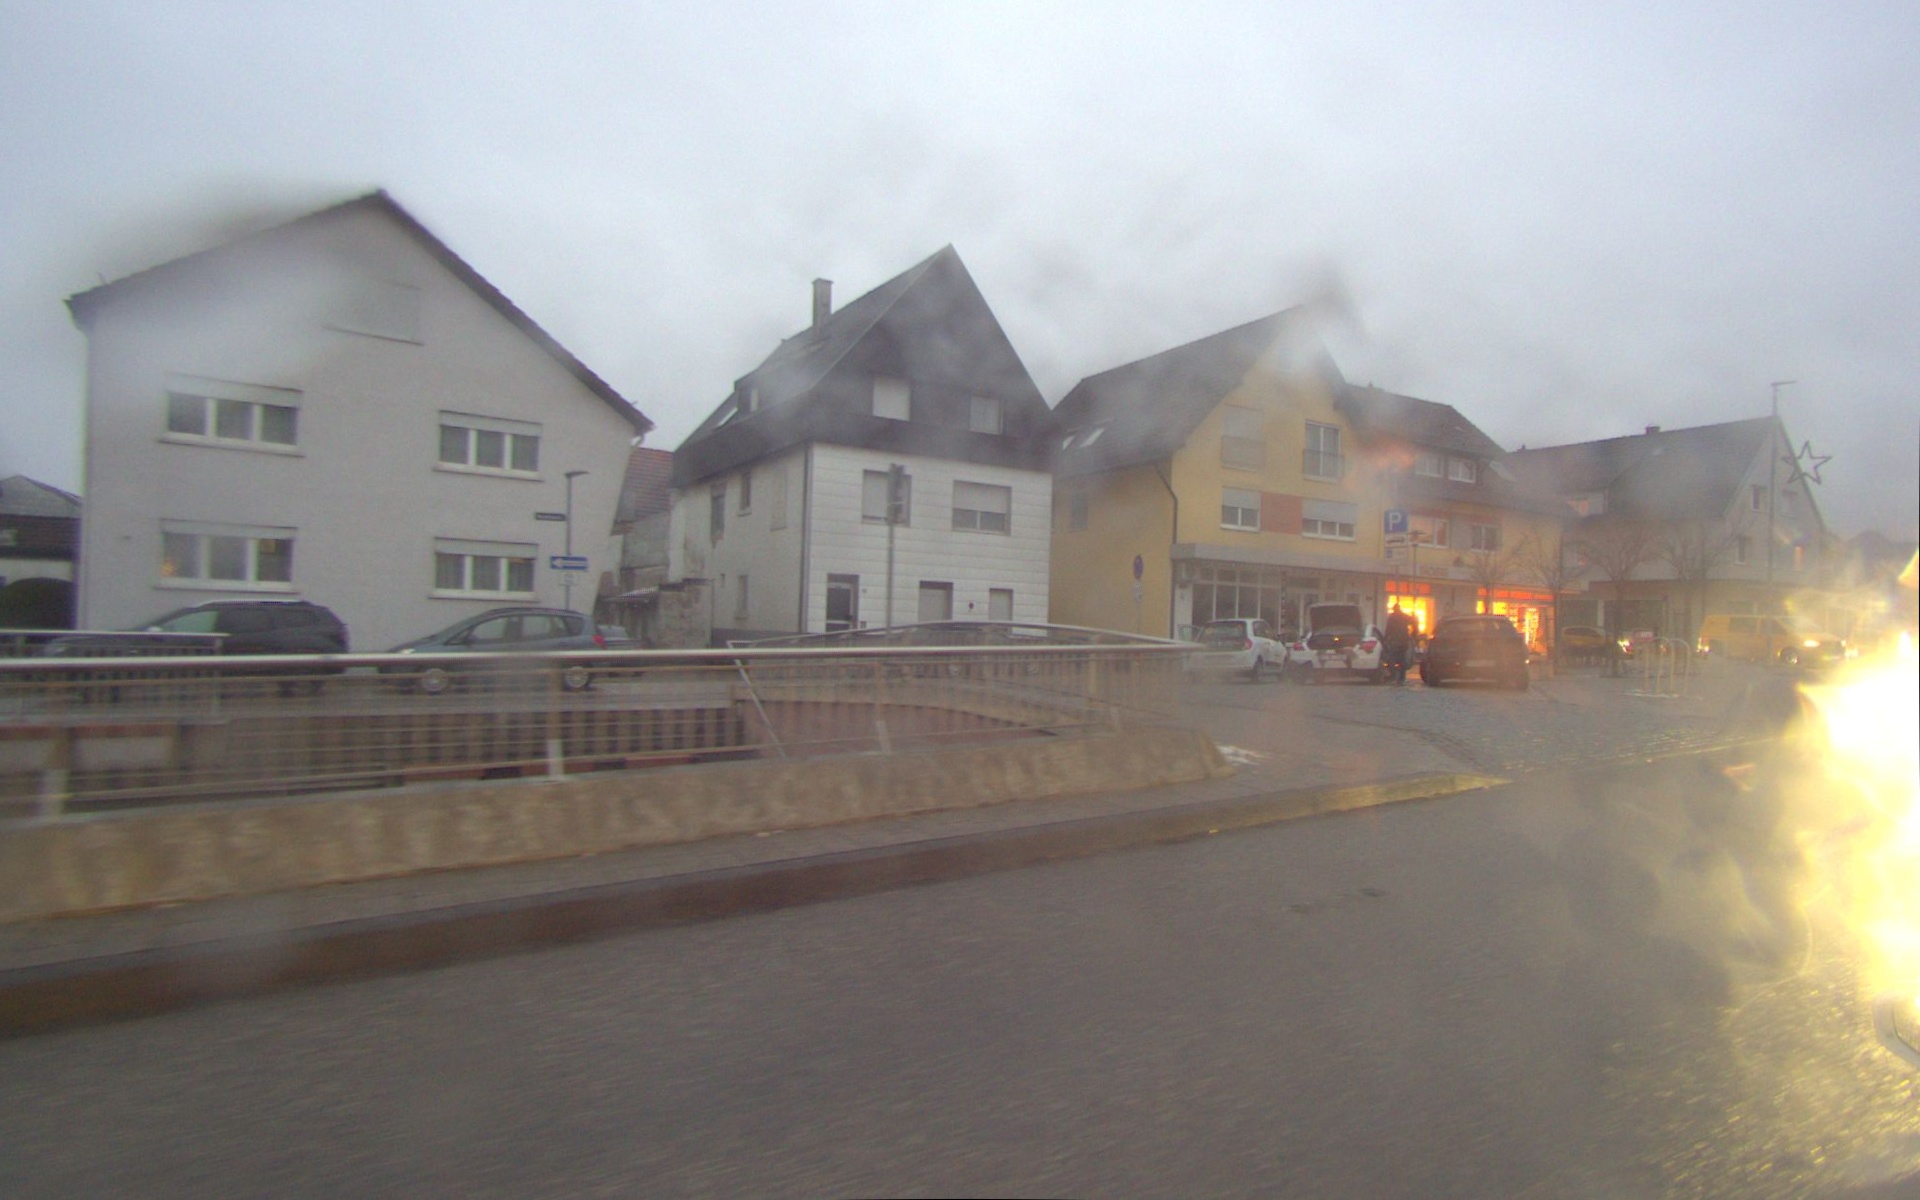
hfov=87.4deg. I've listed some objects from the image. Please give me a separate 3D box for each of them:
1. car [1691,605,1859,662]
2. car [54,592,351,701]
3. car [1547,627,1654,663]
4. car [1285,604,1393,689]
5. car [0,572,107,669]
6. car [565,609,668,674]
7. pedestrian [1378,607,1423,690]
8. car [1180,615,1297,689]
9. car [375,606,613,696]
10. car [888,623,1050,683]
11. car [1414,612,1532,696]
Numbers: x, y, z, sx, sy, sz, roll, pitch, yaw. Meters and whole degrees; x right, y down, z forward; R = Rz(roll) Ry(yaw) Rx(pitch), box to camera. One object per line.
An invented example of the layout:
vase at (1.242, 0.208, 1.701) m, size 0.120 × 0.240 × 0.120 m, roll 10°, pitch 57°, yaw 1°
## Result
car at (31.608, 1.250, 39.177) m, size 1.966 × 2.040 × 4.886 m, roll 2°, pitch 0°, yaw -14°
car at (-12.960, 0.774, 17.428) m, size 3.924 × 1.682 × 1.686 m, roll 2°, pitch 0°, yaw -38°
car at (29.504, 2.069, 46.391) m, size 1.693 × 1.440 × 3.815 m, roll 4°, pitch -2°, yaw -26°
car at (8.507, 1.012, 22.358) m, size 1.807 × 1.692 × 3.892 m, roll -2°, pitch -2°, yaw 27°
car at (-19.961, 0.511, 22.082) m, size 1.457 × 1.962 × 3.670 m, roll 1°, pitch -3°, yaw -35°
car at (-9.918, 1.225, 28.828) m, size 1.701 × 1.704 × 3.962 m, roll 4°, pitch -5°, yaw -35°
pedestrian at (9.392, 1.023, 21.430) m, size 0.825 × 1.734 × 0.724 m, roll -1°, pitch -2°, yaw 21°
car at (6.923, 1.242, 24.685) m, size 1.734 × 1.652 × 3.991 m, roll -2°, pitch -2°, yaw 31°
car at (-9.255, 0.984, 20.053) m, size 4.052 × 1.590 × 1.763 m, roll 2°, pitch 0°, yaw -35°
car at (0.287, 1.479, 29.167) m, size 4.372 × 1.520 × 1.901 m, roll 1°, pitch 2°, yaw -31°
car at (10.500, 1.084, 20.824) m, size 1.878 × 1.551 × 4.178 m, roll -1°, pitch -2°, yaw 23°
